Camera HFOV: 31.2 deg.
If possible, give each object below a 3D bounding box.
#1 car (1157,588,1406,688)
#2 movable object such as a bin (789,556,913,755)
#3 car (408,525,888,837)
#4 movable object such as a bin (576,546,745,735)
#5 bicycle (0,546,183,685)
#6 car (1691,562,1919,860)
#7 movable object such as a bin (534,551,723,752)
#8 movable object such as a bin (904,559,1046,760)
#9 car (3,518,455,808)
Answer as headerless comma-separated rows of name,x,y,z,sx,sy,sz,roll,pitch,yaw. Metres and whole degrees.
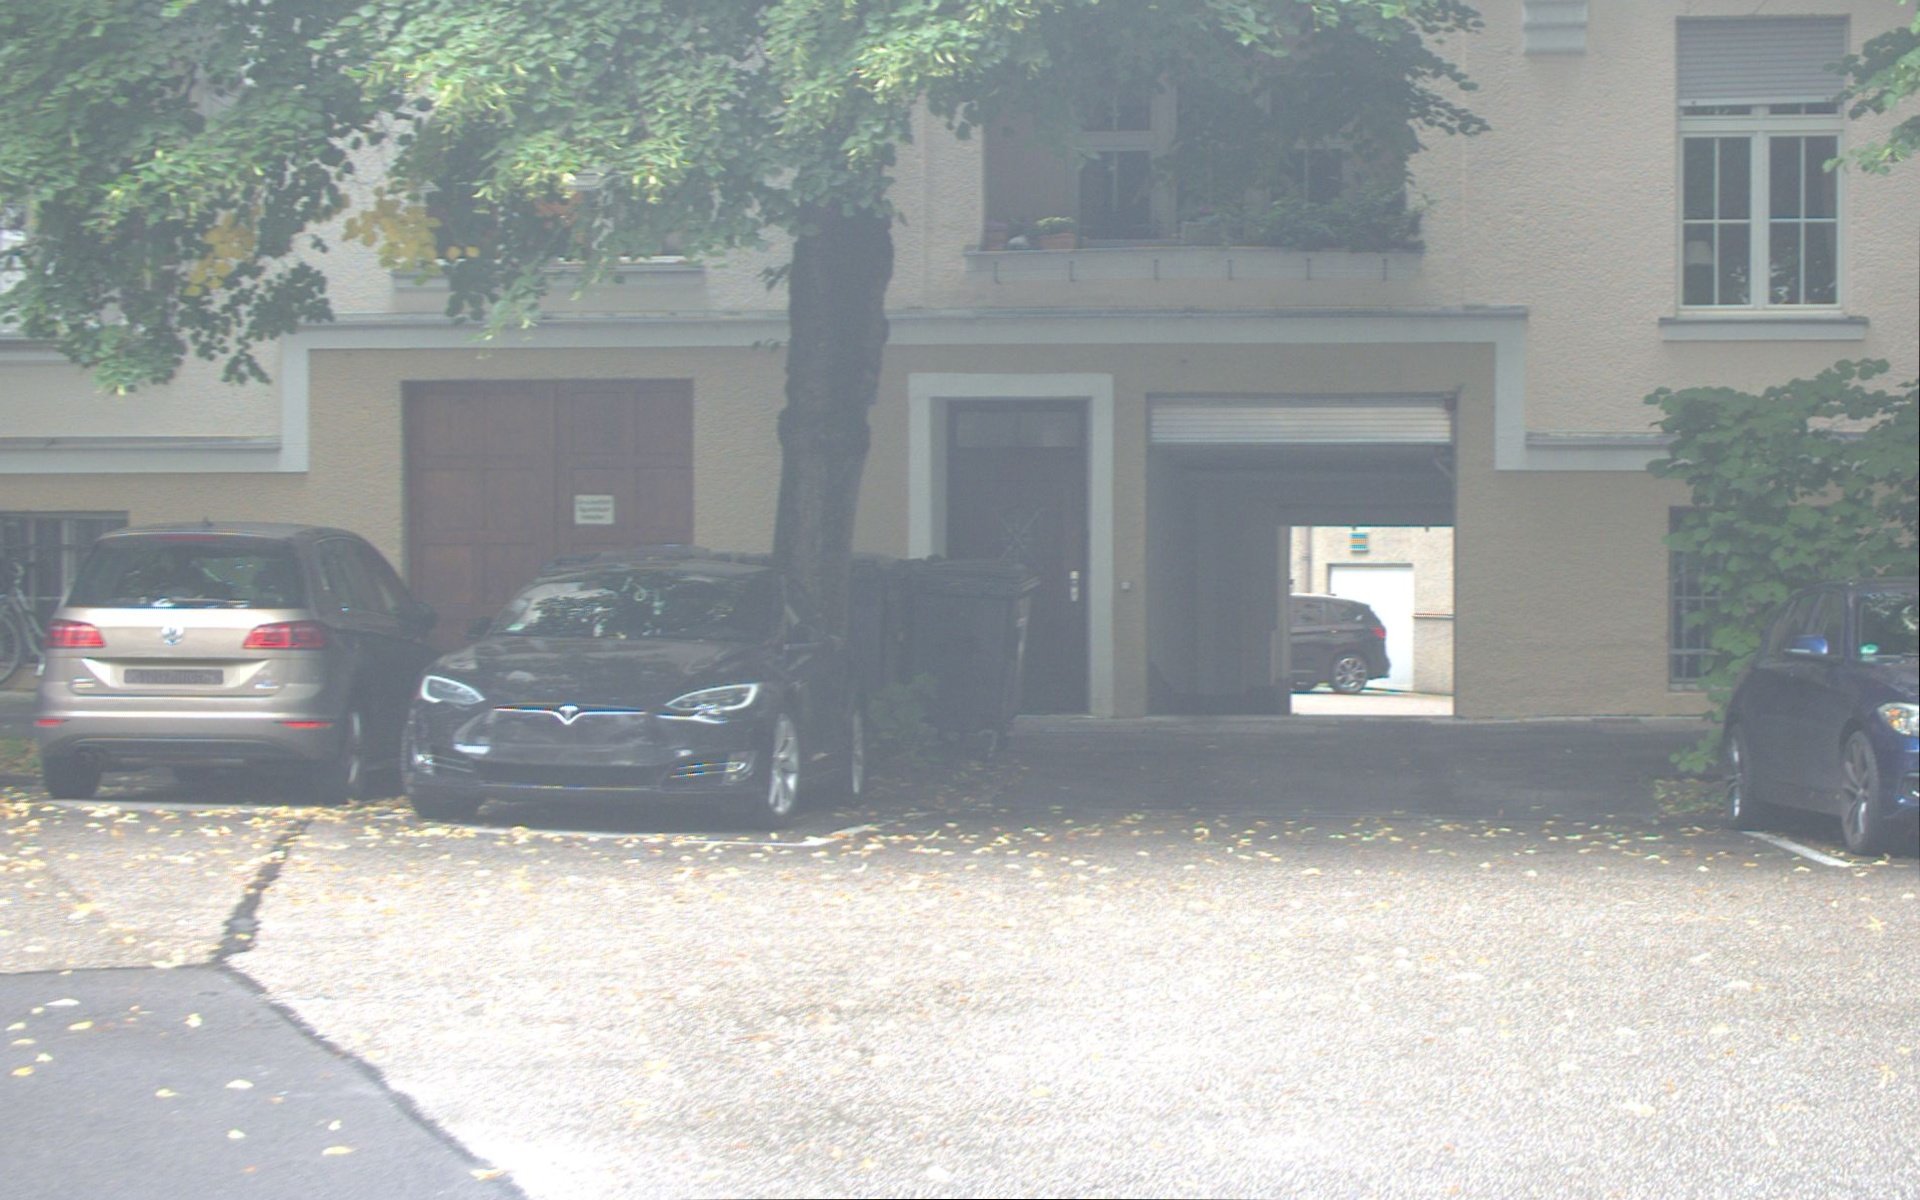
car,5.182,0.603,55.738,3.844,1.513,1.656,1,1,0
movable object such as a bin,-0.757,0.369,24.238,0.713,1.343,1.373,1,1,5
car,-1.577,0.434,18.918,1.704,1.462,4.287,2,-1,7
movable object such as a bin,-2.216,0.286,25.513,1.117,1.344,0.864,1,2,3
bicycle,-7.588,0.114,28.336,2.229,1.111,0.576,1,1,6
car,5.197,0.522,18.095,1.839,1.378,4.342,0,0,1
movable object such as a bin,-2.324,0.348,24.248,1.150,1.344,1.156,1,2,3
movable object such as a bin,0.120,0.392,23.859,0.862,1.300,1.432,3,1,3
car,-4.195,0.306,20.361,1.838,1.525,4.025,1,1,0
